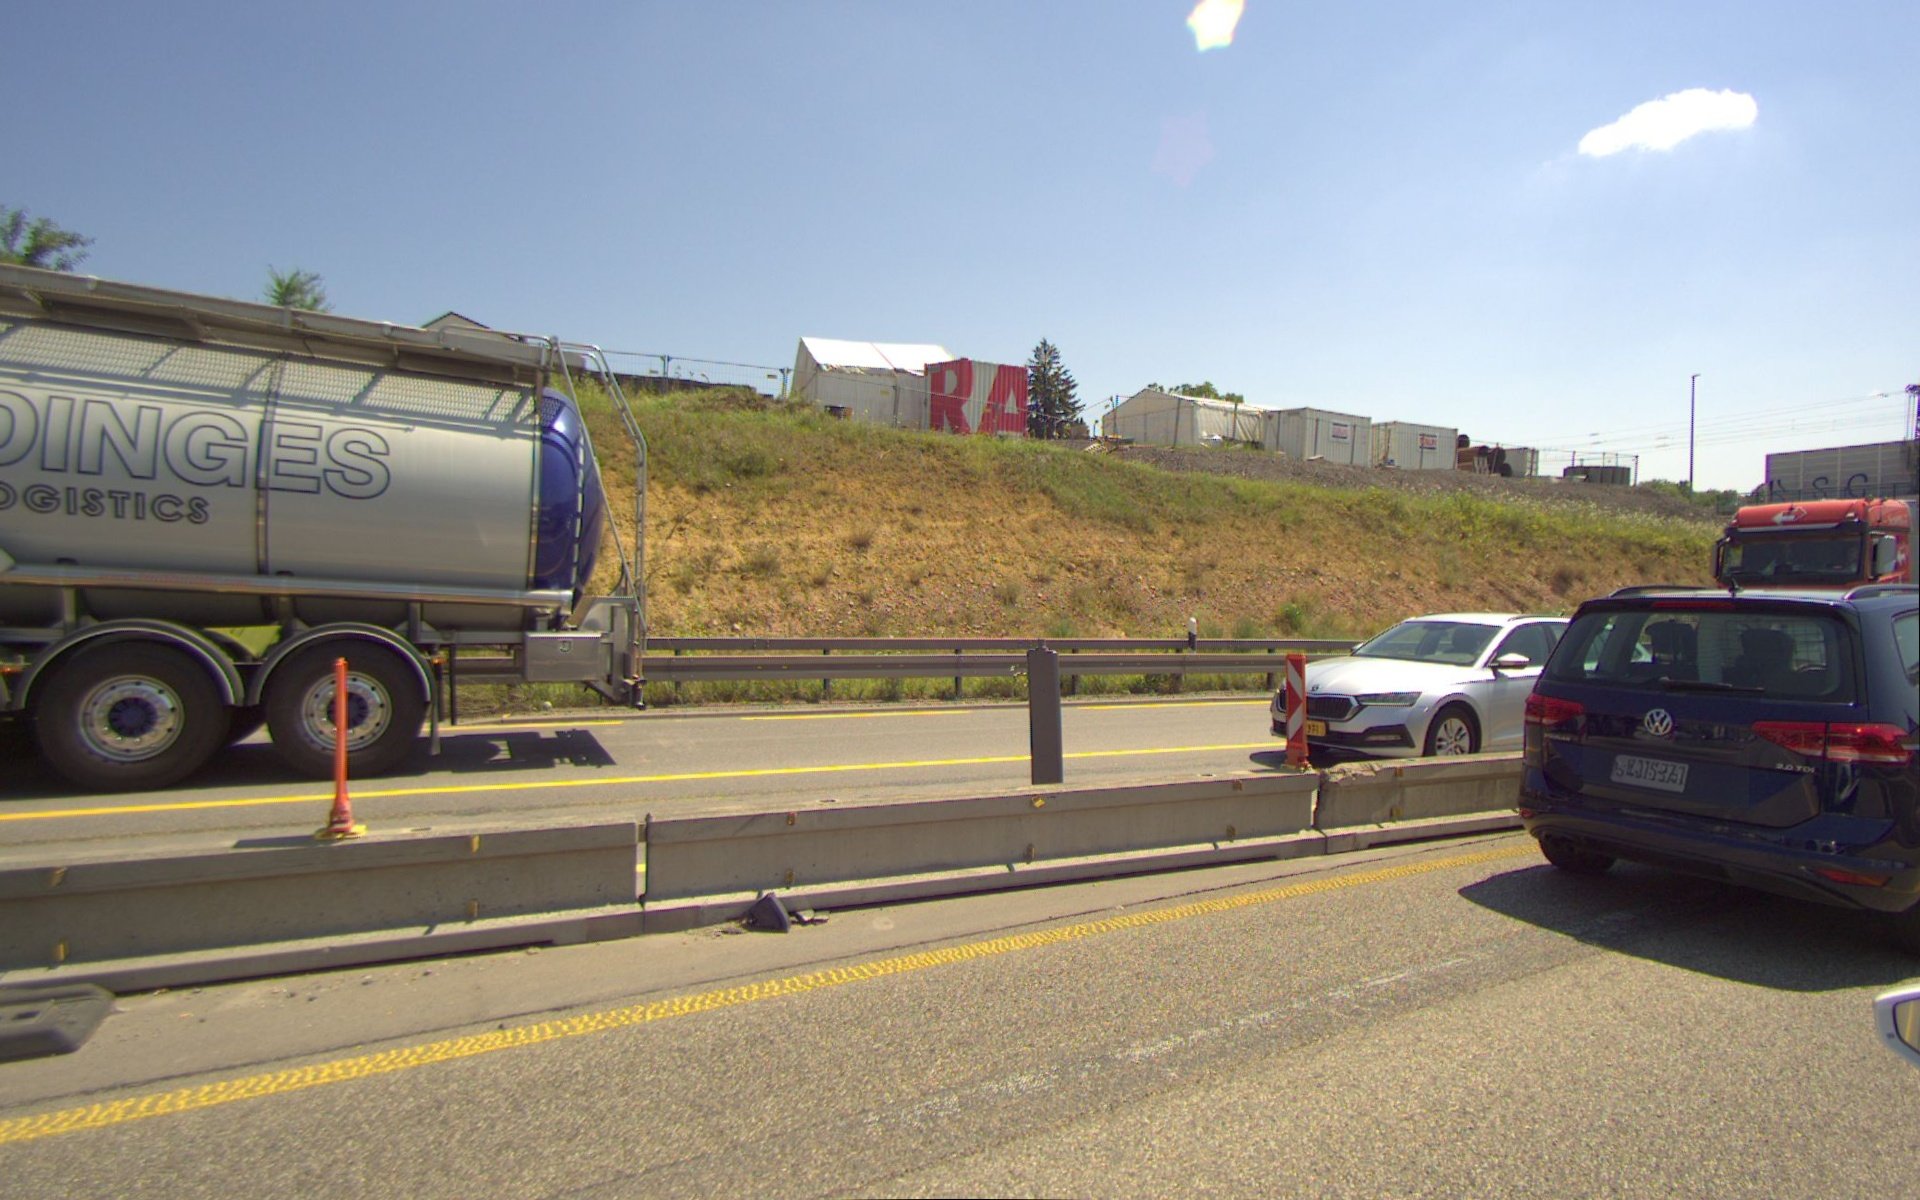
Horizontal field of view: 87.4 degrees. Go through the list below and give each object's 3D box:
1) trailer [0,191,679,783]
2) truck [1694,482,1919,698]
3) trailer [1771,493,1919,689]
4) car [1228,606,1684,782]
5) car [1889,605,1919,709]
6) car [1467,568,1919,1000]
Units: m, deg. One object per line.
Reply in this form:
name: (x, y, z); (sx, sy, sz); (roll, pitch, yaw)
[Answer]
trailer: (-7.989, -0.789, 7.283); (11.129, 3.922, 2.590); (2, 0, -27)
truck: (17.824, -0.123, 20.549); (5.317, 3.879, 2.573); (2, 0, -30)
trailer: (23.362, -0.040, 23.727); (11.685, 3.866, 2.642); (2, 0, -31)
car: (5.100, 0.835, 10.251); (4.475, 1.448, 1.827); (1, 0, -26)
car: (17.979, 0.981, 17.077); (4.627, 1.686, 1.826); (1, 0, -29)
car: (5.023, 0.735, 5.679); (4.336, 1.657, 1.726); (1, 0, -29)
